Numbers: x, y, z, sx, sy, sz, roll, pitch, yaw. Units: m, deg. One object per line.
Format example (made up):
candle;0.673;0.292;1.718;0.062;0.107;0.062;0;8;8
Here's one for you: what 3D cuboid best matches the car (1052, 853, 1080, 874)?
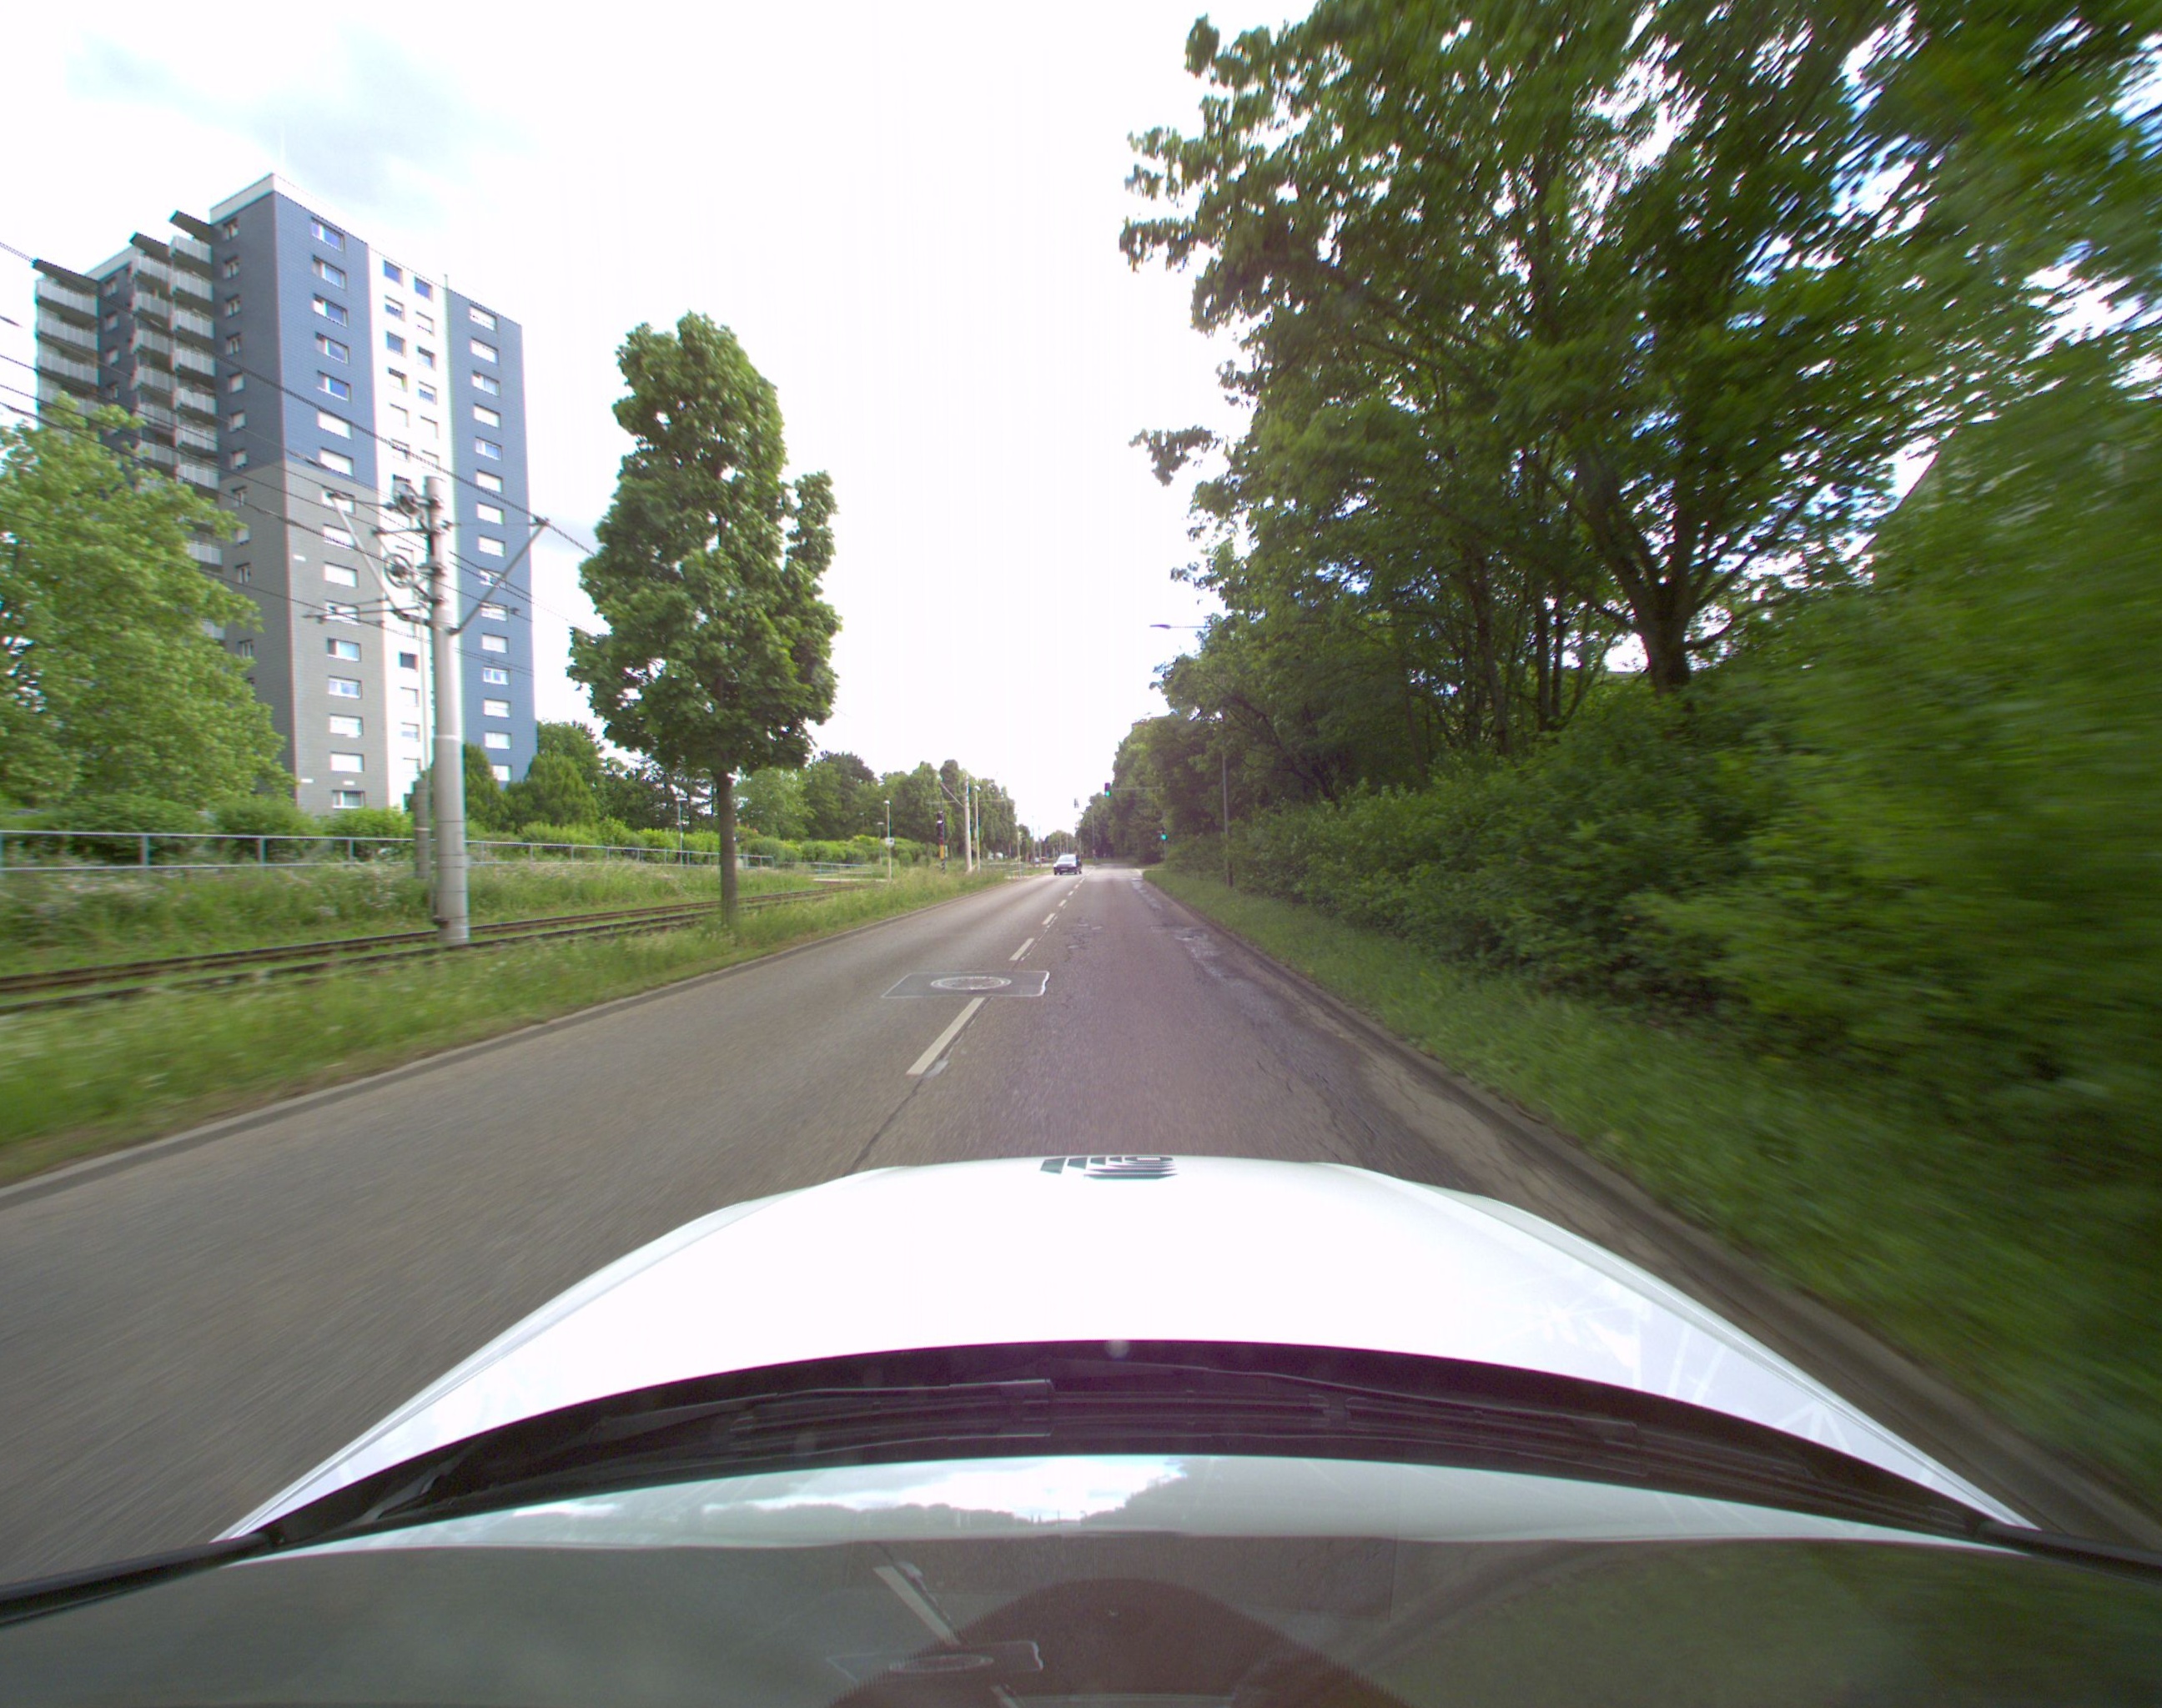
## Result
car;-1.110;0.716;62.228;1.842;1.470;4.259;-1;0;3
